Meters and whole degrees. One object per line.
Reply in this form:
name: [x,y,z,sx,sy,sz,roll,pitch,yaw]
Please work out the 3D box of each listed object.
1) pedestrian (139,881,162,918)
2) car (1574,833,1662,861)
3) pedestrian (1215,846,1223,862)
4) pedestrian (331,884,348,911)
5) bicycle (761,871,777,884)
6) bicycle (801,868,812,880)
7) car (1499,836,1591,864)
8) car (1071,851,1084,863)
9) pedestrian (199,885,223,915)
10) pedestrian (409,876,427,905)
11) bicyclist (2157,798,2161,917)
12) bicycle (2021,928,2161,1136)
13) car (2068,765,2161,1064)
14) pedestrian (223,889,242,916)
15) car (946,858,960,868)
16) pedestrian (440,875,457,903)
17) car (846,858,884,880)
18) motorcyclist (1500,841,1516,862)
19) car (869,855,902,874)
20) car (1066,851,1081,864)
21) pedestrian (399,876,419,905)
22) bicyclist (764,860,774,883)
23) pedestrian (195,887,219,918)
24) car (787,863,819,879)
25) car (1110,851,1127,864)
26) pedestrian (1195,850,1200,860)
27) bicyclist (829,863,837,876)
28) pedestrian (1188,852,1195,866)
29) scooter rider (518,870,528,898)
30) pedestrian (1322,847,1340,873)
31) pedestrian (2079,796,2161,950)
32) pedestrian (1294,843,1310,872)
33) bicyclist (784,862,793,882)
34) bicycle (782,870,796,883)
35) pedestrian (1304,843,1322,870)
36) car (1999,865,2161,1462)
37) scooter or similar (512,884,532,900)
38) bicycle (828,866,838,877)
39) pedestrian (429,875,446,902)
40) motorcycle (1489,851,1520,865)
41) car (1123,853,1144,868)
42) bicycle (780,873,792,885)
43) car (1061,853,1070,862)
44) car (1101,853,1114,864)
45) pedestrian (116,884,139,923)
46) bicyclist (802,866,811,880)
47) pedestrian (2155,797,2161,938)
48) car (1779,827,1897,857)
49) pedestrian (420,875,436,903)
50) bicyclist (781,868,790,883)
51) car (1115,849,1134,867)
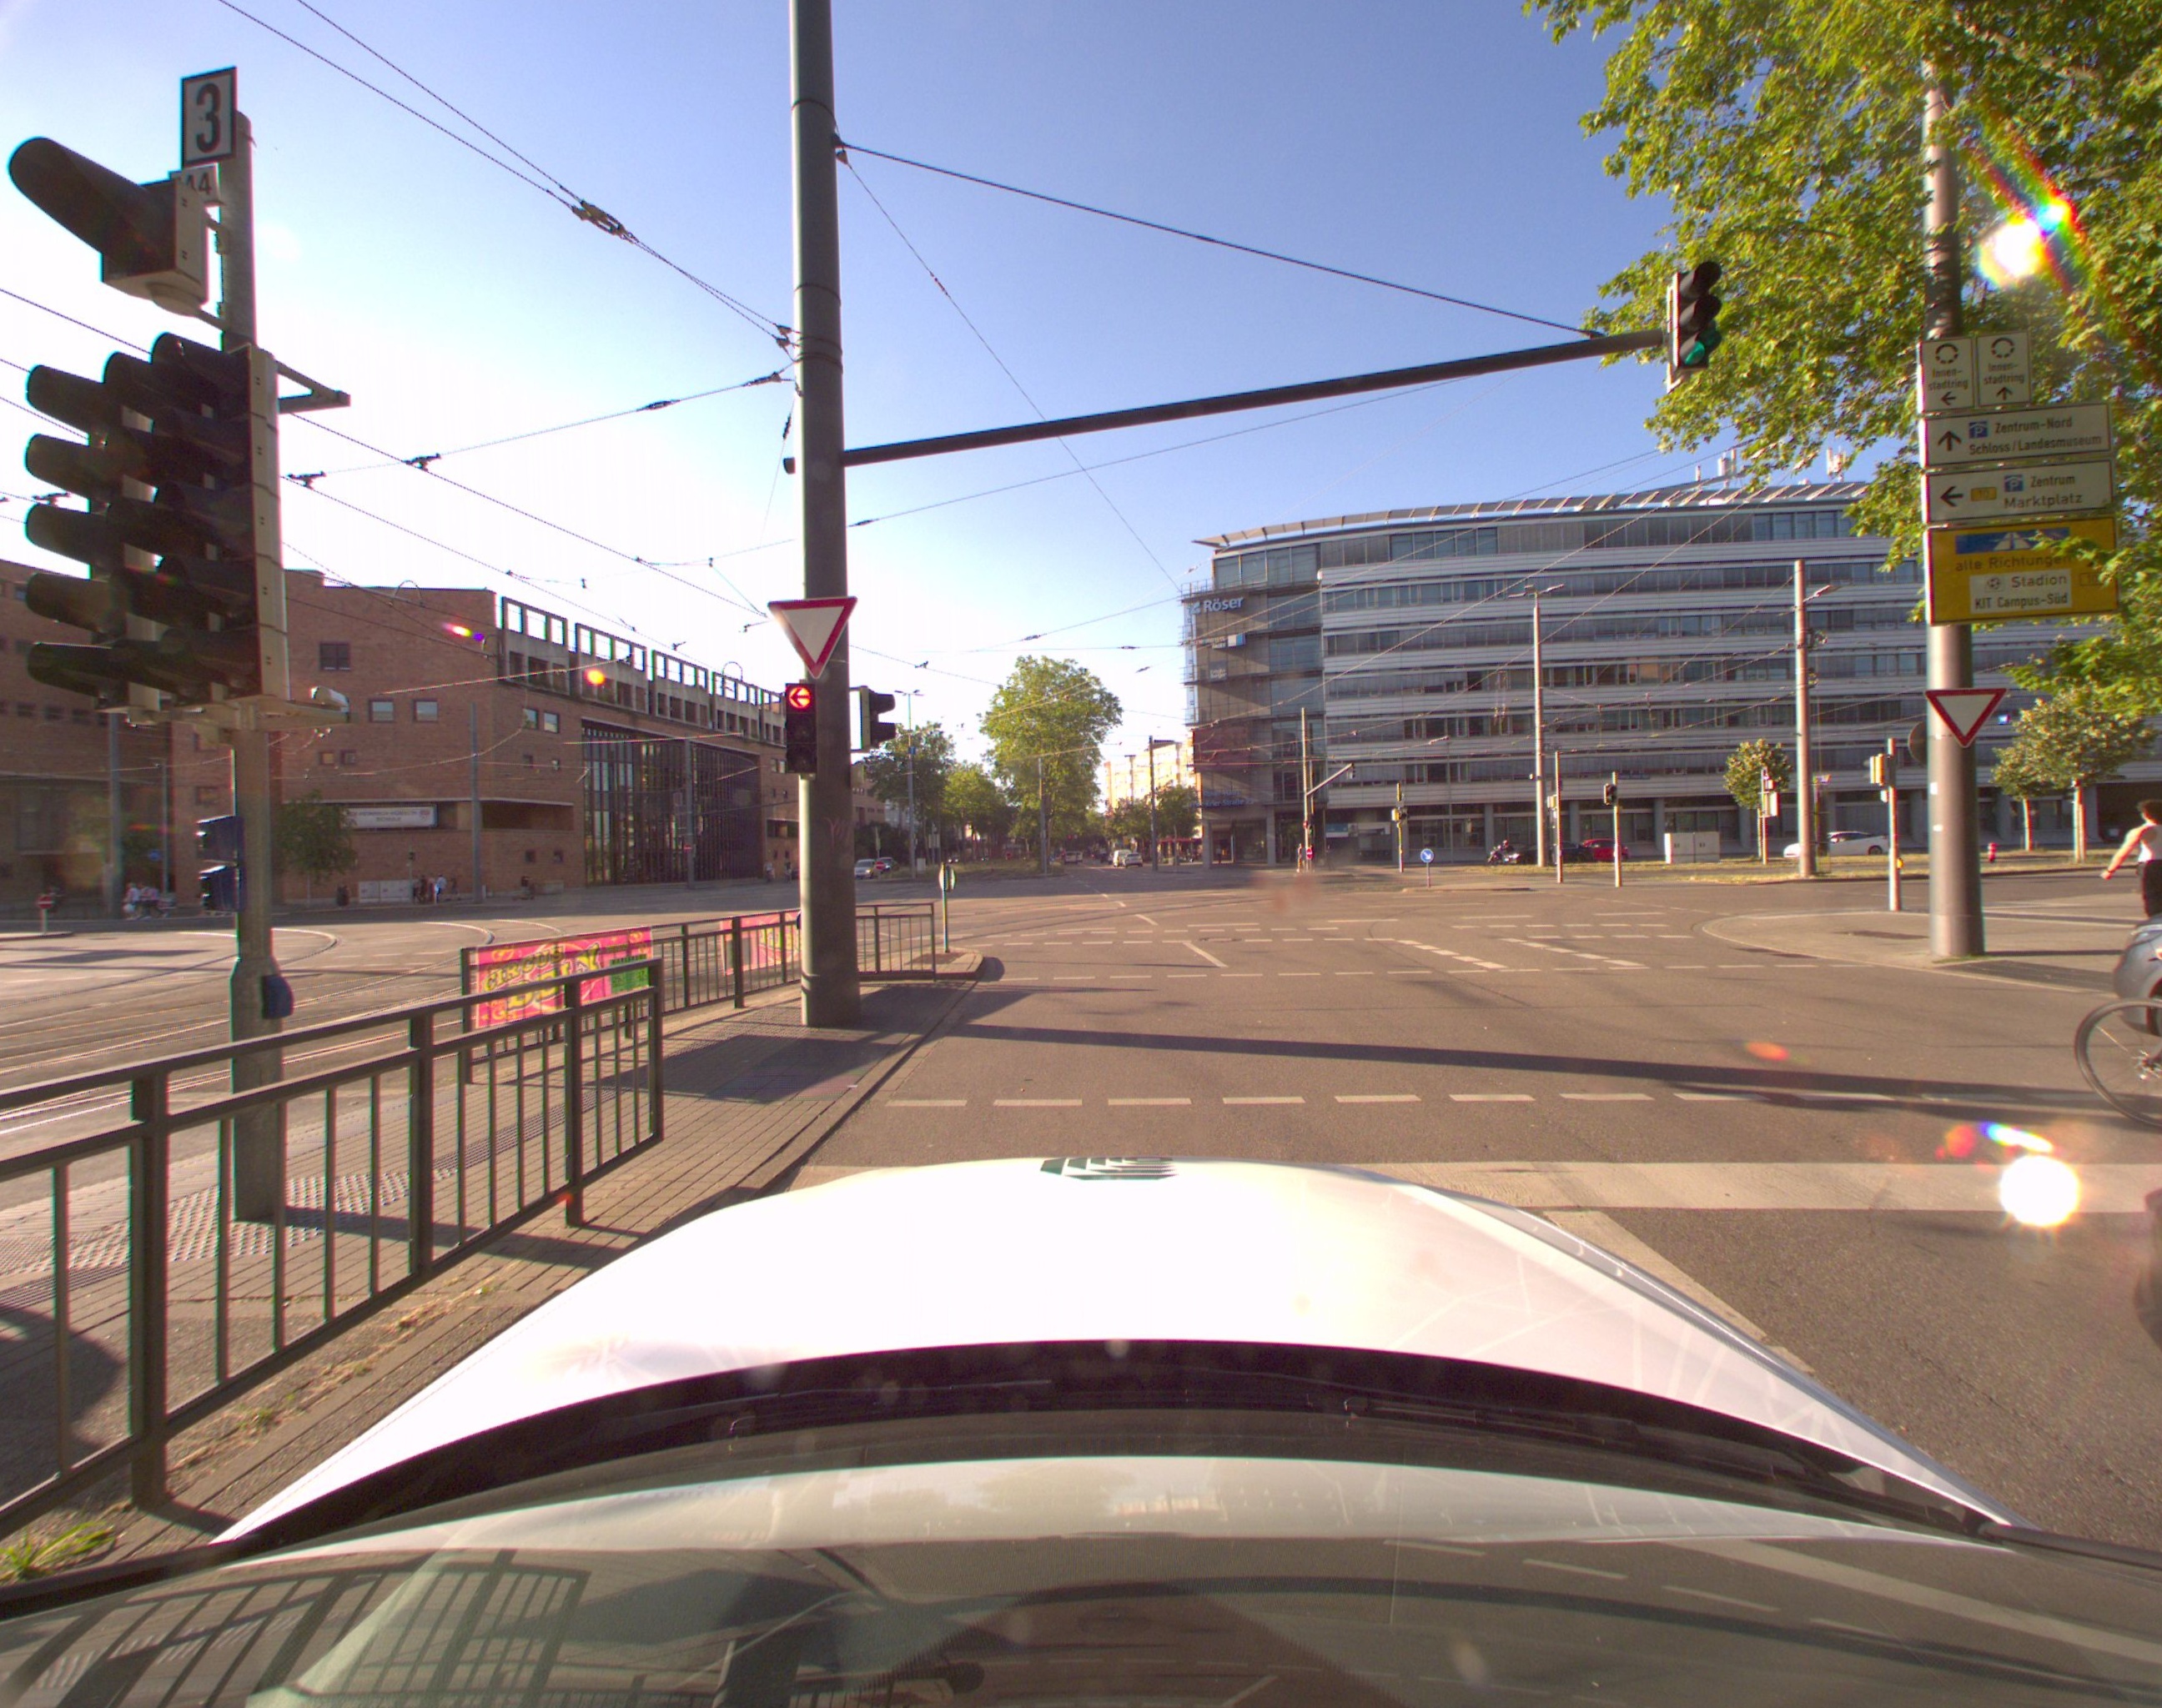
pedestrian: [-41.979,2.053,36.743,0.590,1.614,0.593,-2,0,36]
car: [31.924,-0.392,48.481,3.966,1.393,1.789,-4,0,7]
pedestrian: [12.978,0.002,76.576,0.608,1.507,0.580,-2,0,10]
pedestrian: [-42.061,2.461,46.207,0.490,1.506,0.547,-2,0,-15]
bicycle: [-24.510,1.865,63.951,0.540,0.963,1.587,-2,0,2]
bicycle: [-24.280,1.765,72.053,0.449,0.963,1.348,-2,0,2]
car: [26.307,-0.214,46.244,4.136,1.398,1.789,-2,0,7]
car: [-0.586,0.526,139.966,1.986,1.912,4.002,-2,0,2]
pedestrian: [-40.567,2.131,37.969,0.596,1.339,0.686,-2,0,38]
pedestrian: [-39.504,2.195,48.528,0.547,1.683,0.592,-2,0,2]
bicyclist: [5.743,0.554,3.697,0.629,1.692,0.780,-2,0,1]
bicycle: [5.752,0.933,3.812,0.558,0.981,1.871,-2,0,2]
car: [8.042,0.373,3.308,1.929,1.979,5.099,-2,0,1]
pedestrian: [-46.252,2.625,44.403,0.549,1.427,0.563,-2,0,31]
car: [-24.857,1.680,158.444,1.986,1.816,4.002,-2,0,2]
pedestrian: [-39.156,2.142,50.397,0.572,1.683,0.546,-2,0,-7]
car: [-17.998,1.221,67.956,1.987,1.640,4.001,-2,0,1]
motorcyclist: [25.699,-0.143,49.012,0.708,1.275,0.460,-2,0,5]
car: [-18.108,0.964,75.531,1.987,1.640,4.001,-2,0,1]
car: [-1.105,0.548,121.817,1.953,1.848,5.333,-2,0,2]
pedestrian: [-40.710,2.209,49.345,0.619,1.683,0.649,-2,0,-7]
bicyclist: [-24.494,1.372,63.938,0.534,1.731,0.581,-2,0,1]
pedestrian: [-41.378,2.297,38.553,0.562,1.453,0.618,-2,0,30]
car: [-27.737,1.707,81.345,1.661,1.436,4.001,-2,0,1]
car: [4.830,0.478,105.297,1.986,1.618,4.002,-2,0,2]
pedestrian: [15.702,0.155,109.849,0.575,1.289,0.910,-2,0,2]
bicyclist: [-24.501,1.525,80.458,0.503,1.210,0.581,-2,0,1]
pedestrian: [14.199,0.611,104.831,0.741,1.714,0.612,-2,0,1]
scooter rider: [-33.720,1.809,49.209,0.441,1.647,0.226,-2,0,-44]
pedestrian: [15.962,0.373,52.030,0.943,1.564,0.899,-2,0,8]
pedestrian: [13.136,0.217,10.074,0.636,1.845,0.818,-2,0,20]
pedestrian: [13.951,0.204,51.357,0.858,1.788,0.874,-2,0,11]
bicyclist: [-23.396,1.419,65.121,0.456,1.603,0.581,-2,0,1]
bicycle: [-23.374,1.812,65.194,0.471,0.963,1.576,-2,0,2]
pedestrian: [14.938,0.177,52.444,0.908,1.685,1.037,-2,0,6]
car: [3.376,0.732,0.128,1.733,1.414,4.272,-1,0,2]
scooter or similar: [-33.722,2.281,49.155,0.956,0.899,0.173,-2,0,-45]
bicycle: [-24.530,1.738,80.491,0.490,0.963,1.487,-2,0,2]
pedestrian: [-40.305,2.155,51.023,0.591,1.683,0.502,-2,0,-3]
motorcycle: [25.483,0.238,49.011,1.560,0.810,0.468,-2,0,6]
car: [5.298,0.621,82.824,1.986,1.376,4.002,-2,0,2]
bicycle: [-24.926,2.130,68.732,0.466,0.963,1.320,-2,0,2]
car: [-3.713,0.917,196.684,1.986,2.013,4.001,-2,0,2]
car: [4.104,0.658,126.779,1.986,1.618,4.002,-2,0,2]
pedestrian: [-41.830,2.176,35.723,0.552,1.648,0.593,-2,0,-44]
bicyclist: [-24.282,1.670,72.029,0.503,1.179,0.581,-2,0,1]
pedestrian: [13.772,0.172,9.832,0.641,1.777,0.768,-2,0,22]
car: [41.559,-0.642,44.795,4.581,1.336,1.789,-4,0,7]
pedestrian: [-40.126,2.140,50.044,0.547,1.683,0.572,-2,0,-9]
bicyclist: [-24.921,1.808,68.742,0.503,1.304,0.581,-2,0,1]
car: [4.752,0.450,89.641,1.986,1.860,4.002,-2,0,2]
